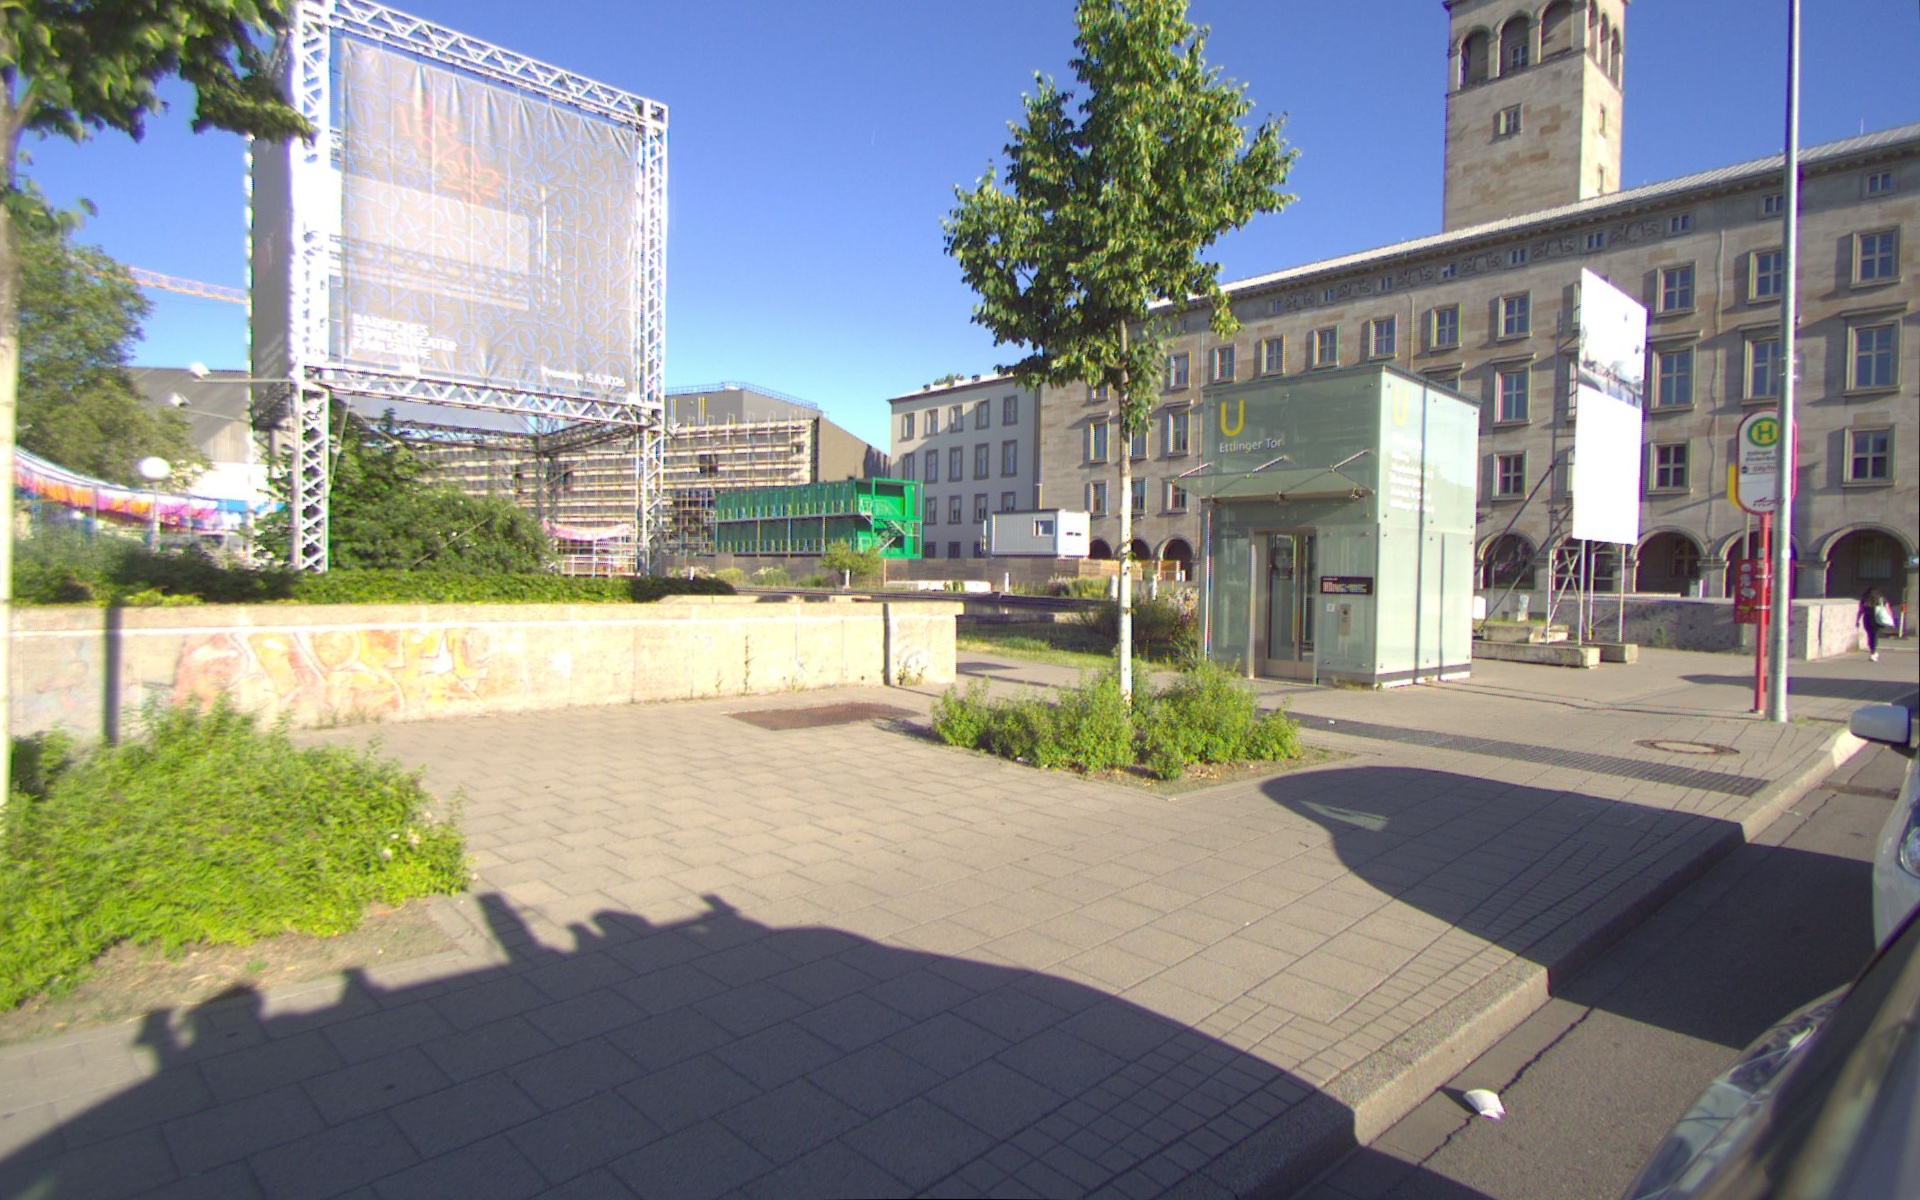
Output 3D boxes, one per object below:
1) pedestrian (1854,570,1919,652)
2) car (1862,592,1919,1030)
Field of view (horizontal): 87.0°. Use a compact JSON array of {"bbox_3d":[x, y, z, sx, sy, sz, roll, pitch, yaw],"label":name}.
[{"bbox_3d":[21.189,0.263,23.095,1.053,1.810,0.941,0,-4,-41],"label":"pedestrian"},{"bbox_3d":[5.154,0.708,3.996,3.817,1.467,1.679,0,0,-37],"label":"car"}]
